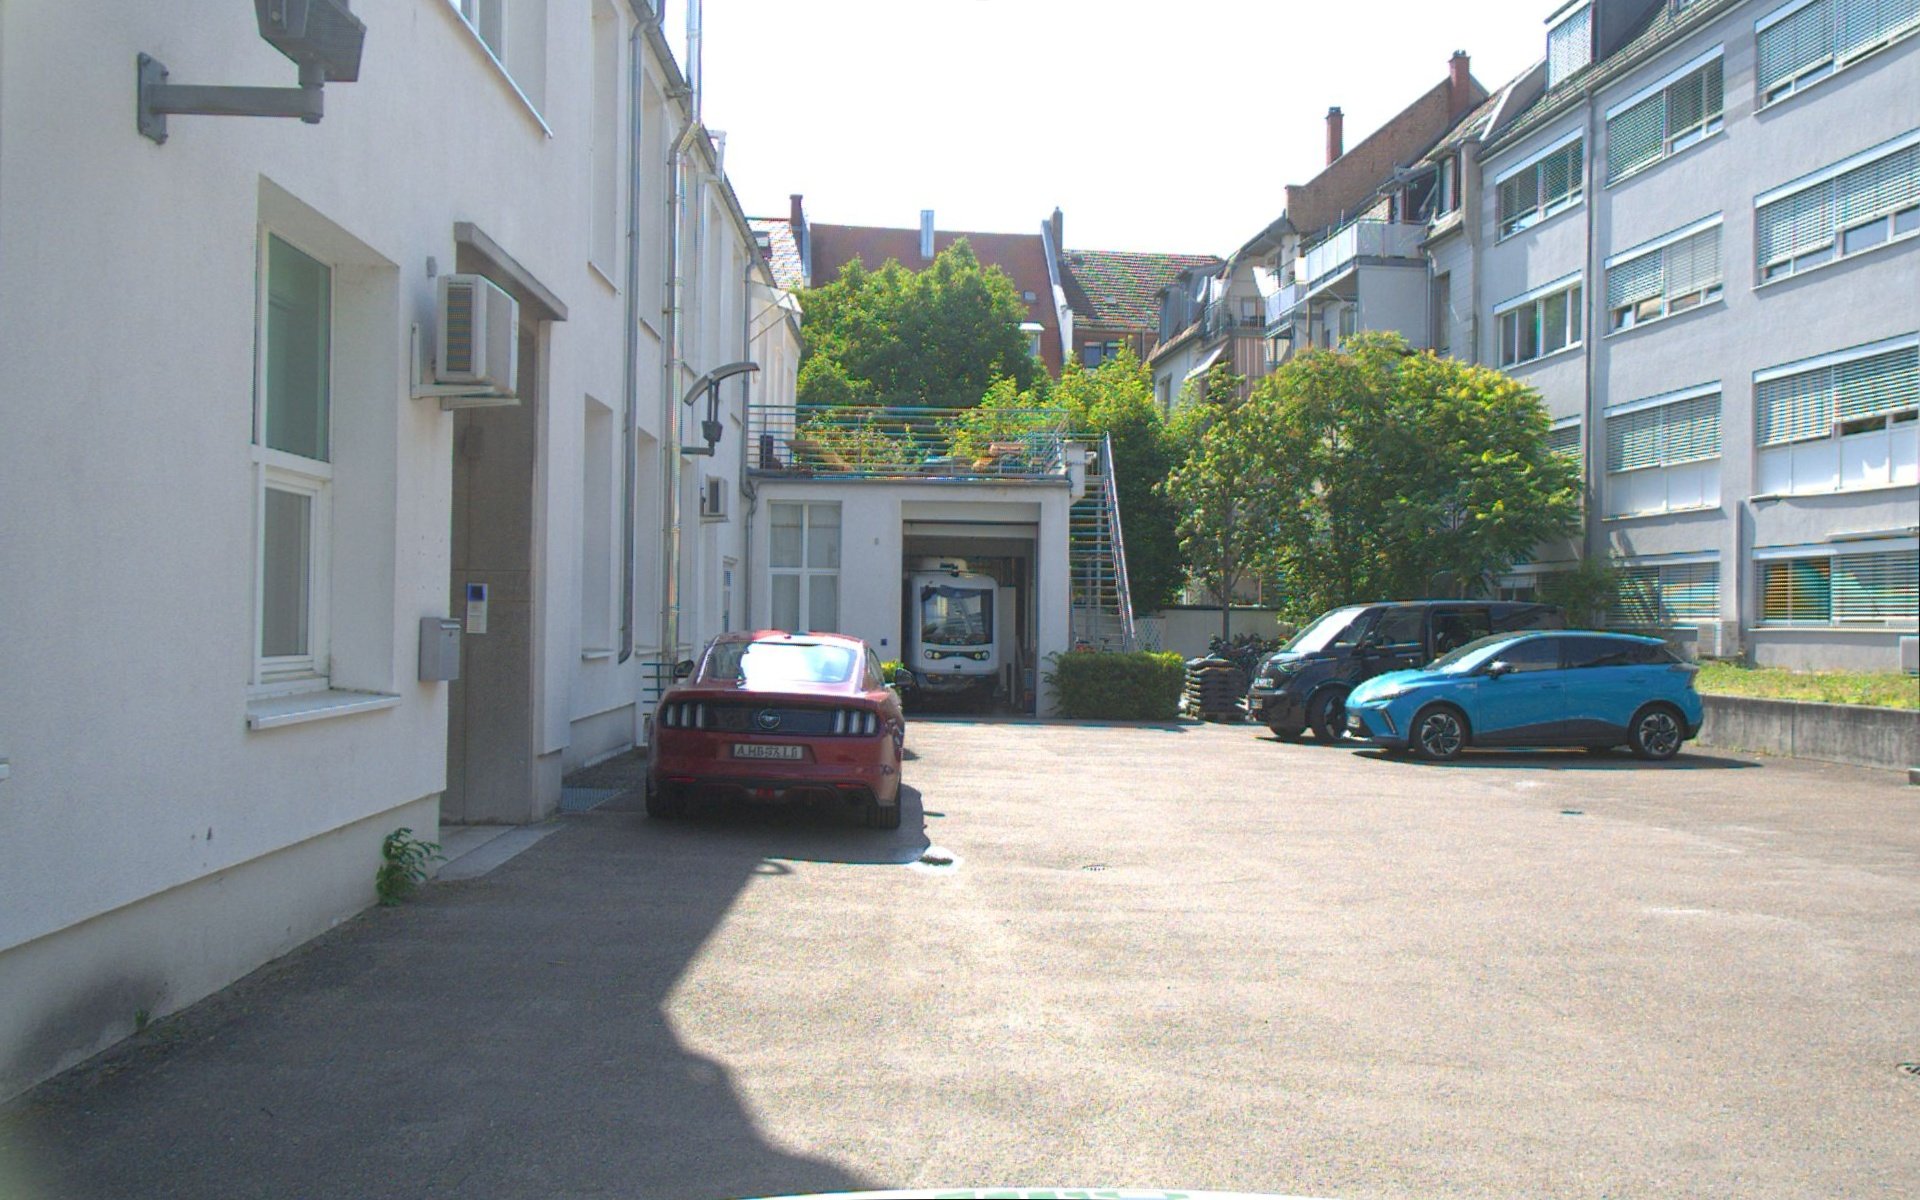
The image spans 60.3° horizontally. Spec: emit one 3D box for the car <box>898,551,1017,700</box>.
[{"bbox_3d":[-0.098,0.523,33.044,2.130,2.653,6.732,0,-1,-1],"label":"car"}]

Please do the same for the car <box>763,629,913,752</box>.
[{"bbox_3d":[-1.390,1.025,20.004,1.581,1.318,3.758,0,-1,-1],"label":"car"}]

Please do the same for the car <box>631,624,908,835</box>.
[{"bbox_3d":[-1.355,0.905,13.179,1.815,1.342,3.998,2,-1,-2],"label":"car"}]

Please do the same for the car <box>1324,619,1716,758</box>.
[{"bbox_3d":[6.805,1.043,20.386,4.146,1.559,1.998,0,0,-5],"label":"car"}]

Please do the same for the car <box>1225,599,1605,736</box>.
[{"bbox_3d":[6.456,0.896,23.632,4.867,1.798,2.089,0,0,-14],"label":"car"}]
